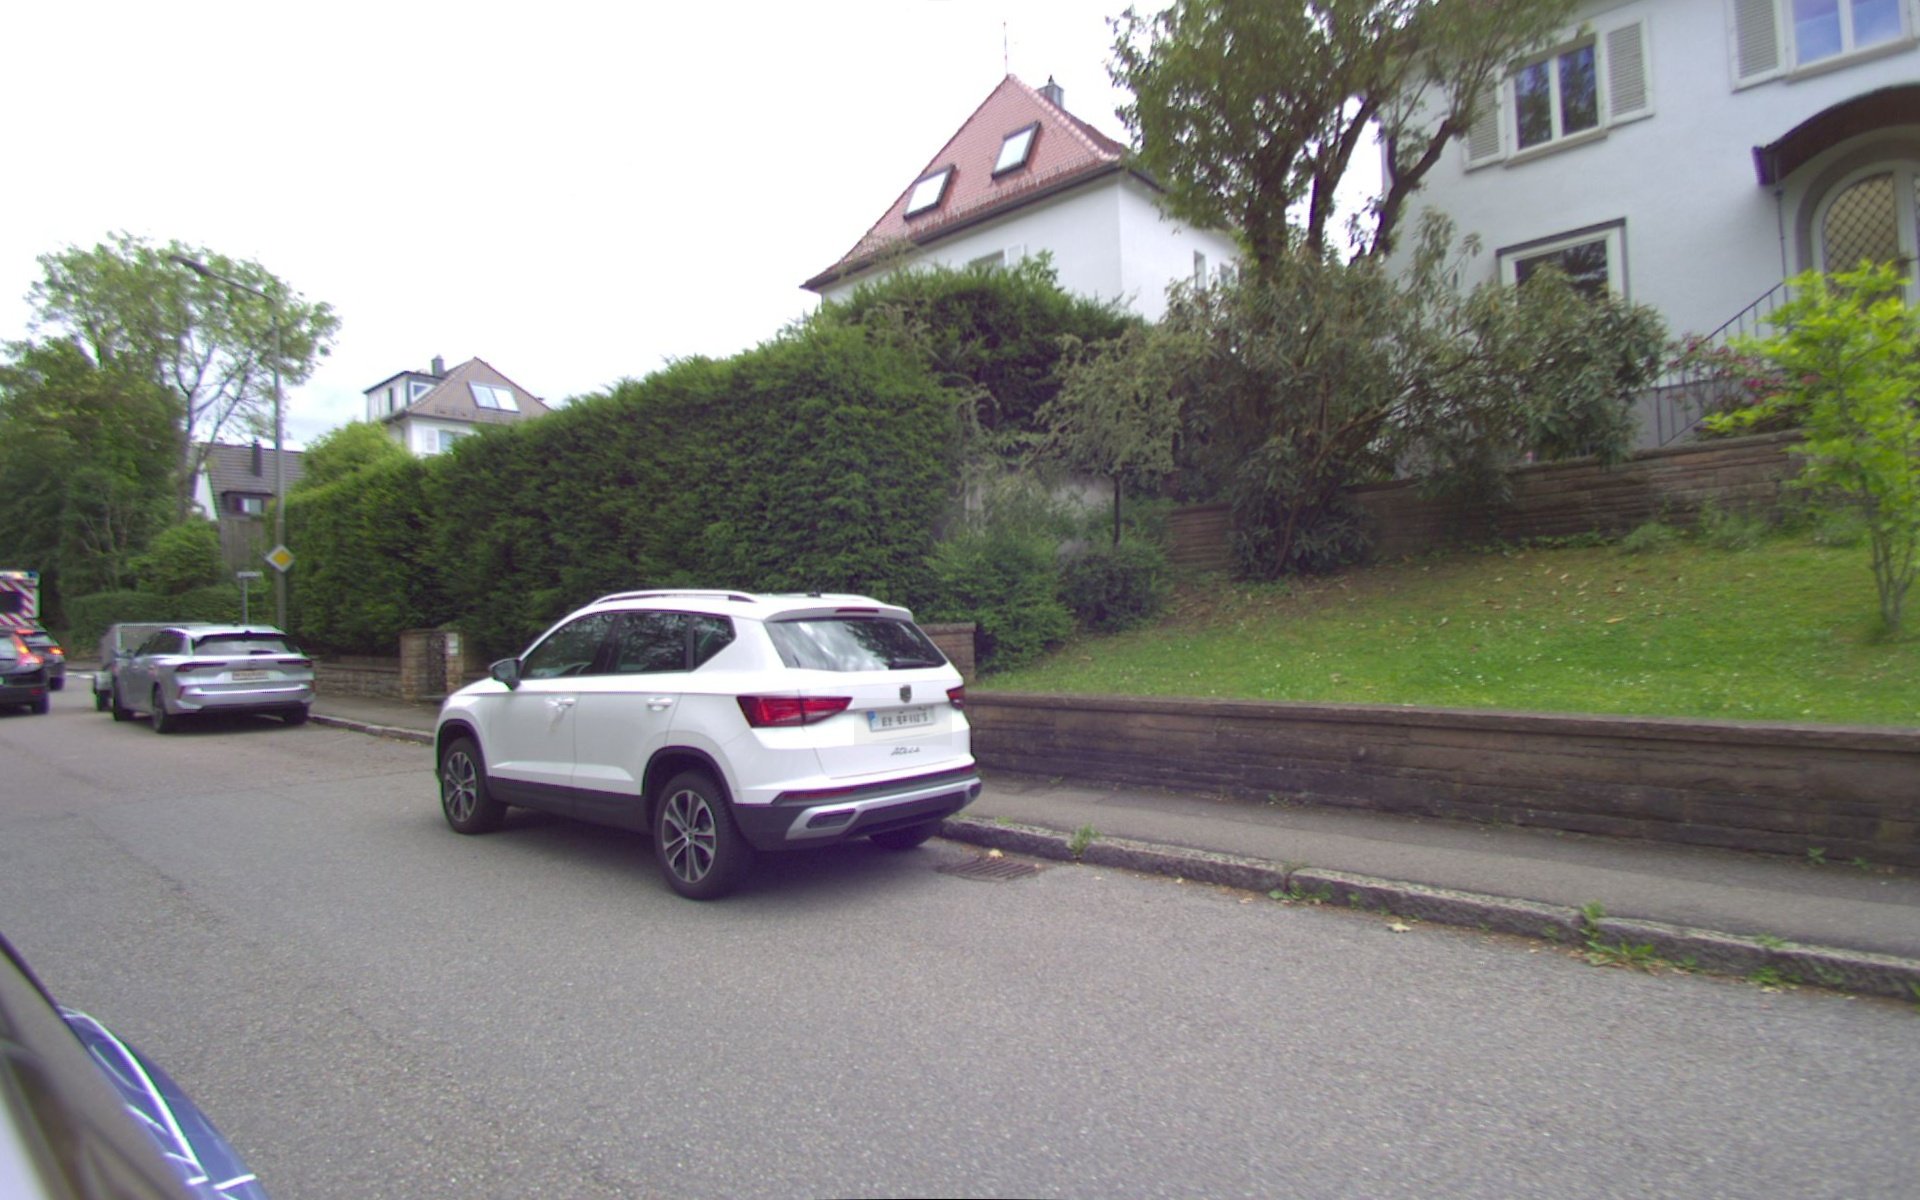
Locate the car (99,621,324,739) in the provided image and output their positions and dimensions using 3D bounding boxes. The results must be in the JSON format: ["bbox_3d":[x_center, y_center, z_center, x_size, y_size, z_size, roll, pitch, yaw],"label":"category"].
[{"bbox_3d":[-11.216,1.087,15.039,4.471,1.511,1.745,-2,-2,41],"label":"car"}]

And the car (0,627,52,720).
[{"bbox_3d":[-17.028,1.216,17.265,4.471,1.457,1.745,-2,-1,41],"label":"car"}]

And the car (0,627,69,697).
[{"bbox_3d":[-21.807,1.372,22.851,4.467,1.457,1.747,-2,-1,38],"label":"car"}]

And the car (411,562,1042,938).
[{"bbox_3d":[-1.703,0.724,6.540,4.182,1.661,1.820,-2,-2,40],"label":"car"}]

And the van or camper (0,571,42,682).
[{"bbox_3d":[-28.031,0.767,28.623,7.167,2.917,2.429,-2,-1,43],"label":"van or camper"}]

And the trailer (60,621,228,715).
[{"bbox_3d":[-15.192,1.183,18.751,4.472,1.507,1.745,-2,-1,42],"label":"trailer"}]
